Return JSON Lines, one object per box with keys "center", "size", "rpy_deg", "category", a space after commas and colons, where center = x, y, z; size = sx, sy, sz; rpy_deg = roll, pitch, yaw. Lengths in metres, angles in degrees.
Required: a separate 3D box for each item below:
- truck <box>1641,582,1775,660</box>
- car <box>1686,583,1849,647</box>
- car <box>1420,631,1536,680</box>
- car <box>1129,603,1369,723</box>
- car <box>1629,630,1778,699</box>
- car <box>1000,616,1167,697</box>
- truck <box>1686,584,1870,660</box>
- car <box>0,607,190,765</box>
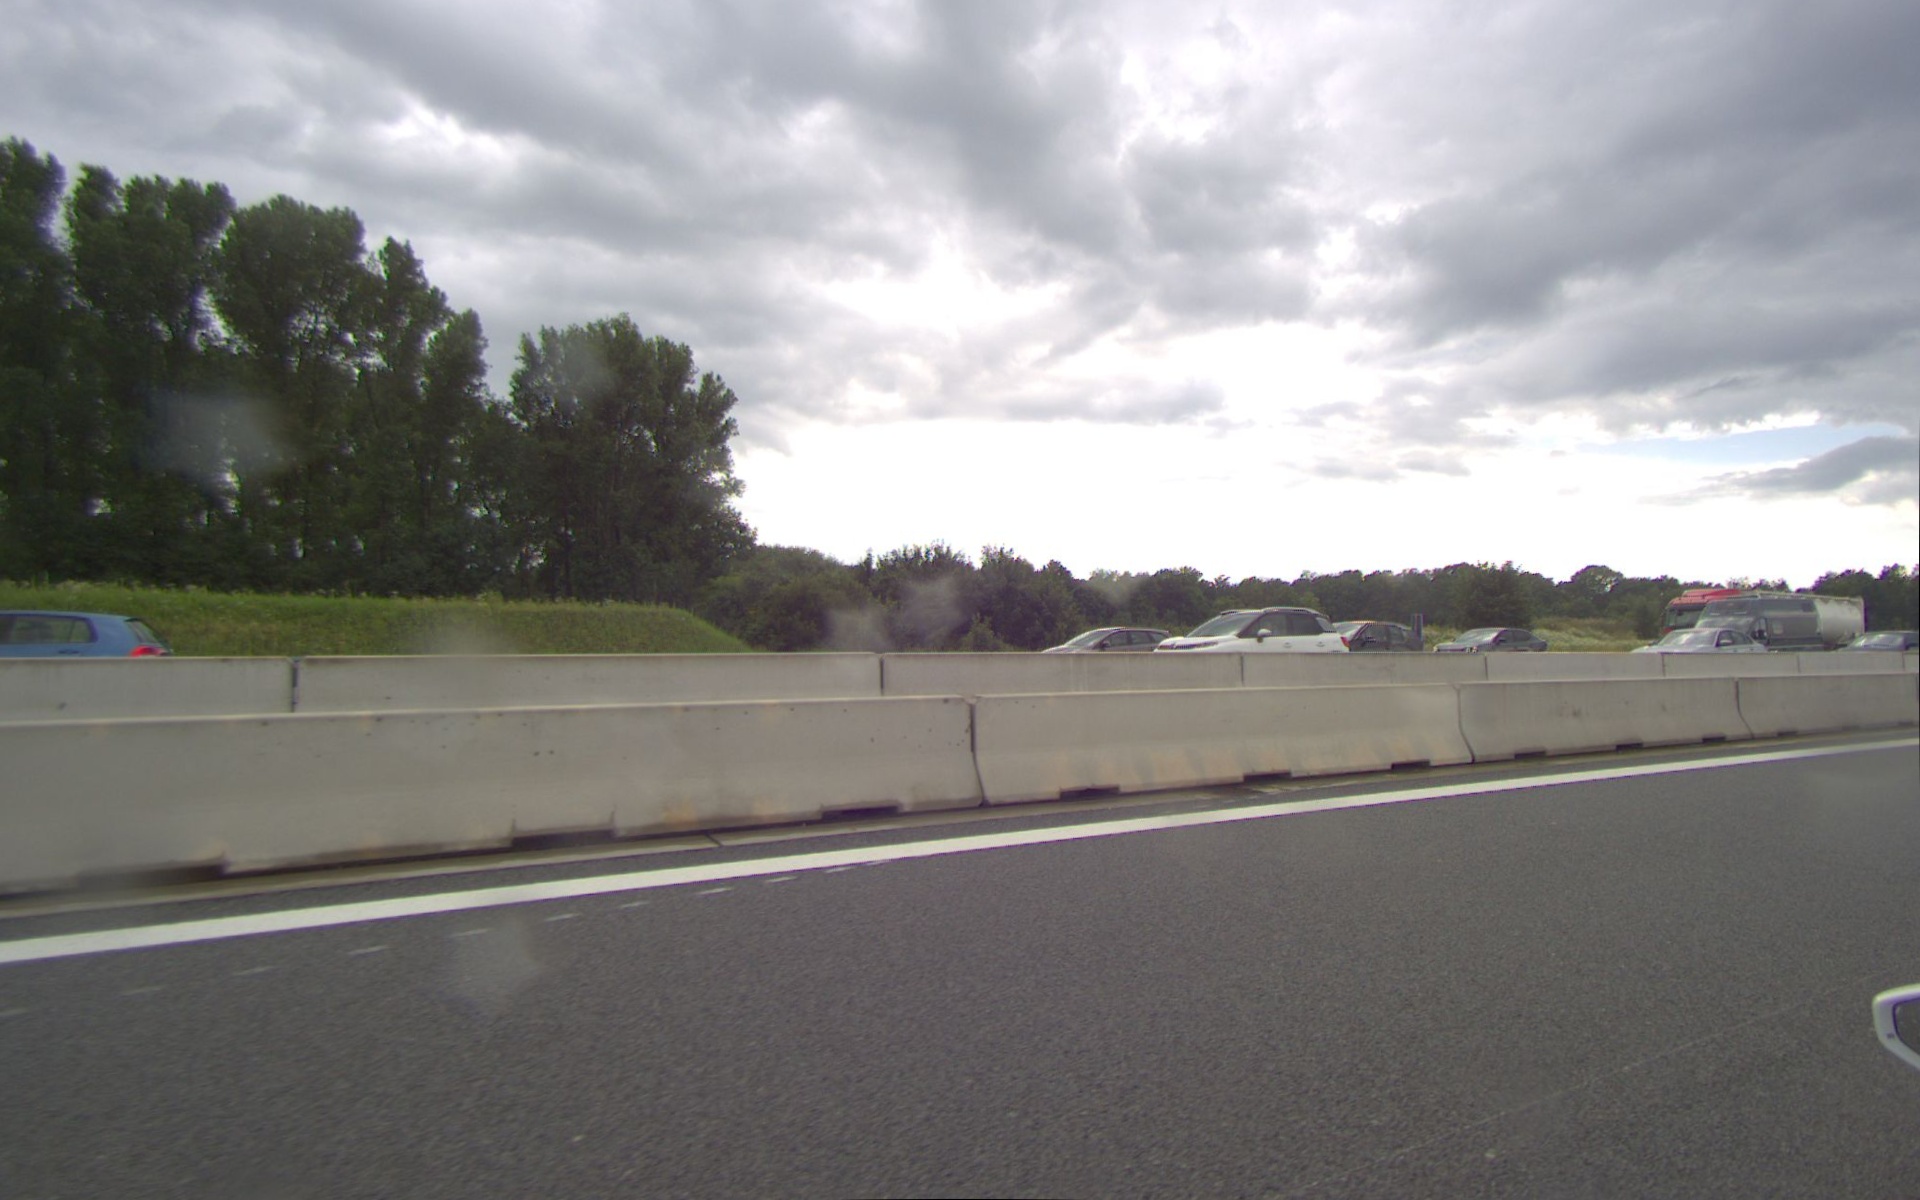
{"center": [38.185, 1.089, 51.252], "size": [6.240, 3.761, 3.138], "rpy_deg": [1, 0, -28], "category": "truck"}
{"center": [29.782, 0.584, 36.988], "size": [6.733, 2.194, 2.250], "rpy_deg": [1, 0, -29], "category": "car"}
{"center": [17.755, 1.882, 34.397], "size": [3.952, 1.542, 1.608], "rpy_deg": [1, 0, -29], "category": "car"}
{"center": [5.481, 1.116, 18.968], "size": [4.213, 2.040, 1.985], "rpy_deg": [1, 0, -29], "category": "car"}
{"center": [20.383, 1.723, 27.525], "size": [3.951, 1.742, 1.796], "rpy_deg": [1, 0, -29], "category": "car"}
{"center": [3.399, 1.508, 27.508], "size": [4.176, 2.040, 1.985], "rpy_deg": [1, 0, -29], "category": "car"}
{"center": [44.940, 1.231, 54.979], "size": [13.137, 3.795, 3.135], "rpy_deg": [1, 0, -29], "category": "truck"}
{"center": [-13.466, 1.120, 13.672], "size": [4.484, 2.040, 1.841], "rpy_deg": [1, 0, -30], "category": "car"}
